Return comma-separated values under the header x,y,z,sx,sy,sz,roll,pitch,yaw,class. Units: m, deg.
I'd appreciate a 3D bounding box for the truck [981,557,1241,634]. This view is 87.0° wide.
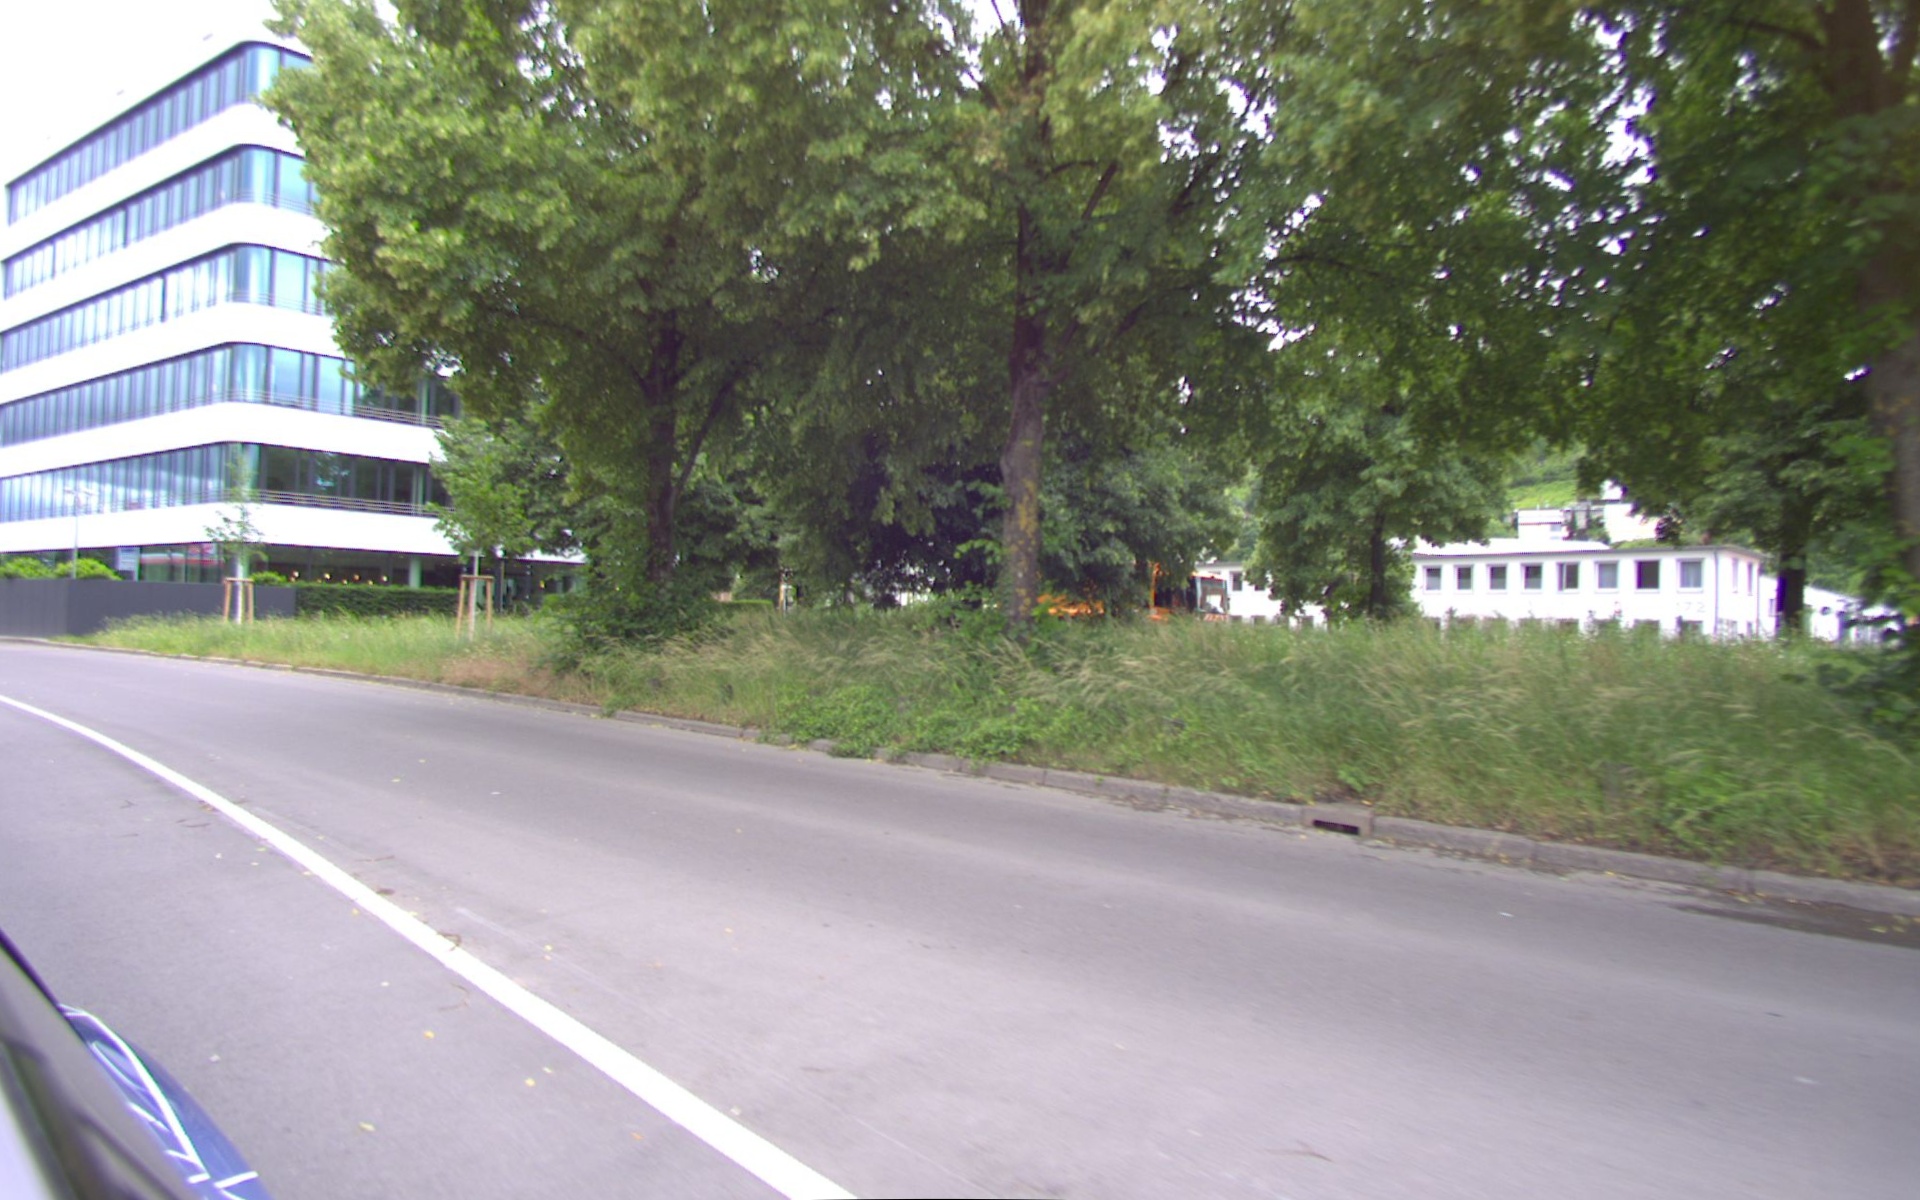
x,y,z,sx,sy,sz,roll,pitch,yaw,class
5.437,-0.034,38.811,2.938,2.541,10.257,3,-3,-43,truck
